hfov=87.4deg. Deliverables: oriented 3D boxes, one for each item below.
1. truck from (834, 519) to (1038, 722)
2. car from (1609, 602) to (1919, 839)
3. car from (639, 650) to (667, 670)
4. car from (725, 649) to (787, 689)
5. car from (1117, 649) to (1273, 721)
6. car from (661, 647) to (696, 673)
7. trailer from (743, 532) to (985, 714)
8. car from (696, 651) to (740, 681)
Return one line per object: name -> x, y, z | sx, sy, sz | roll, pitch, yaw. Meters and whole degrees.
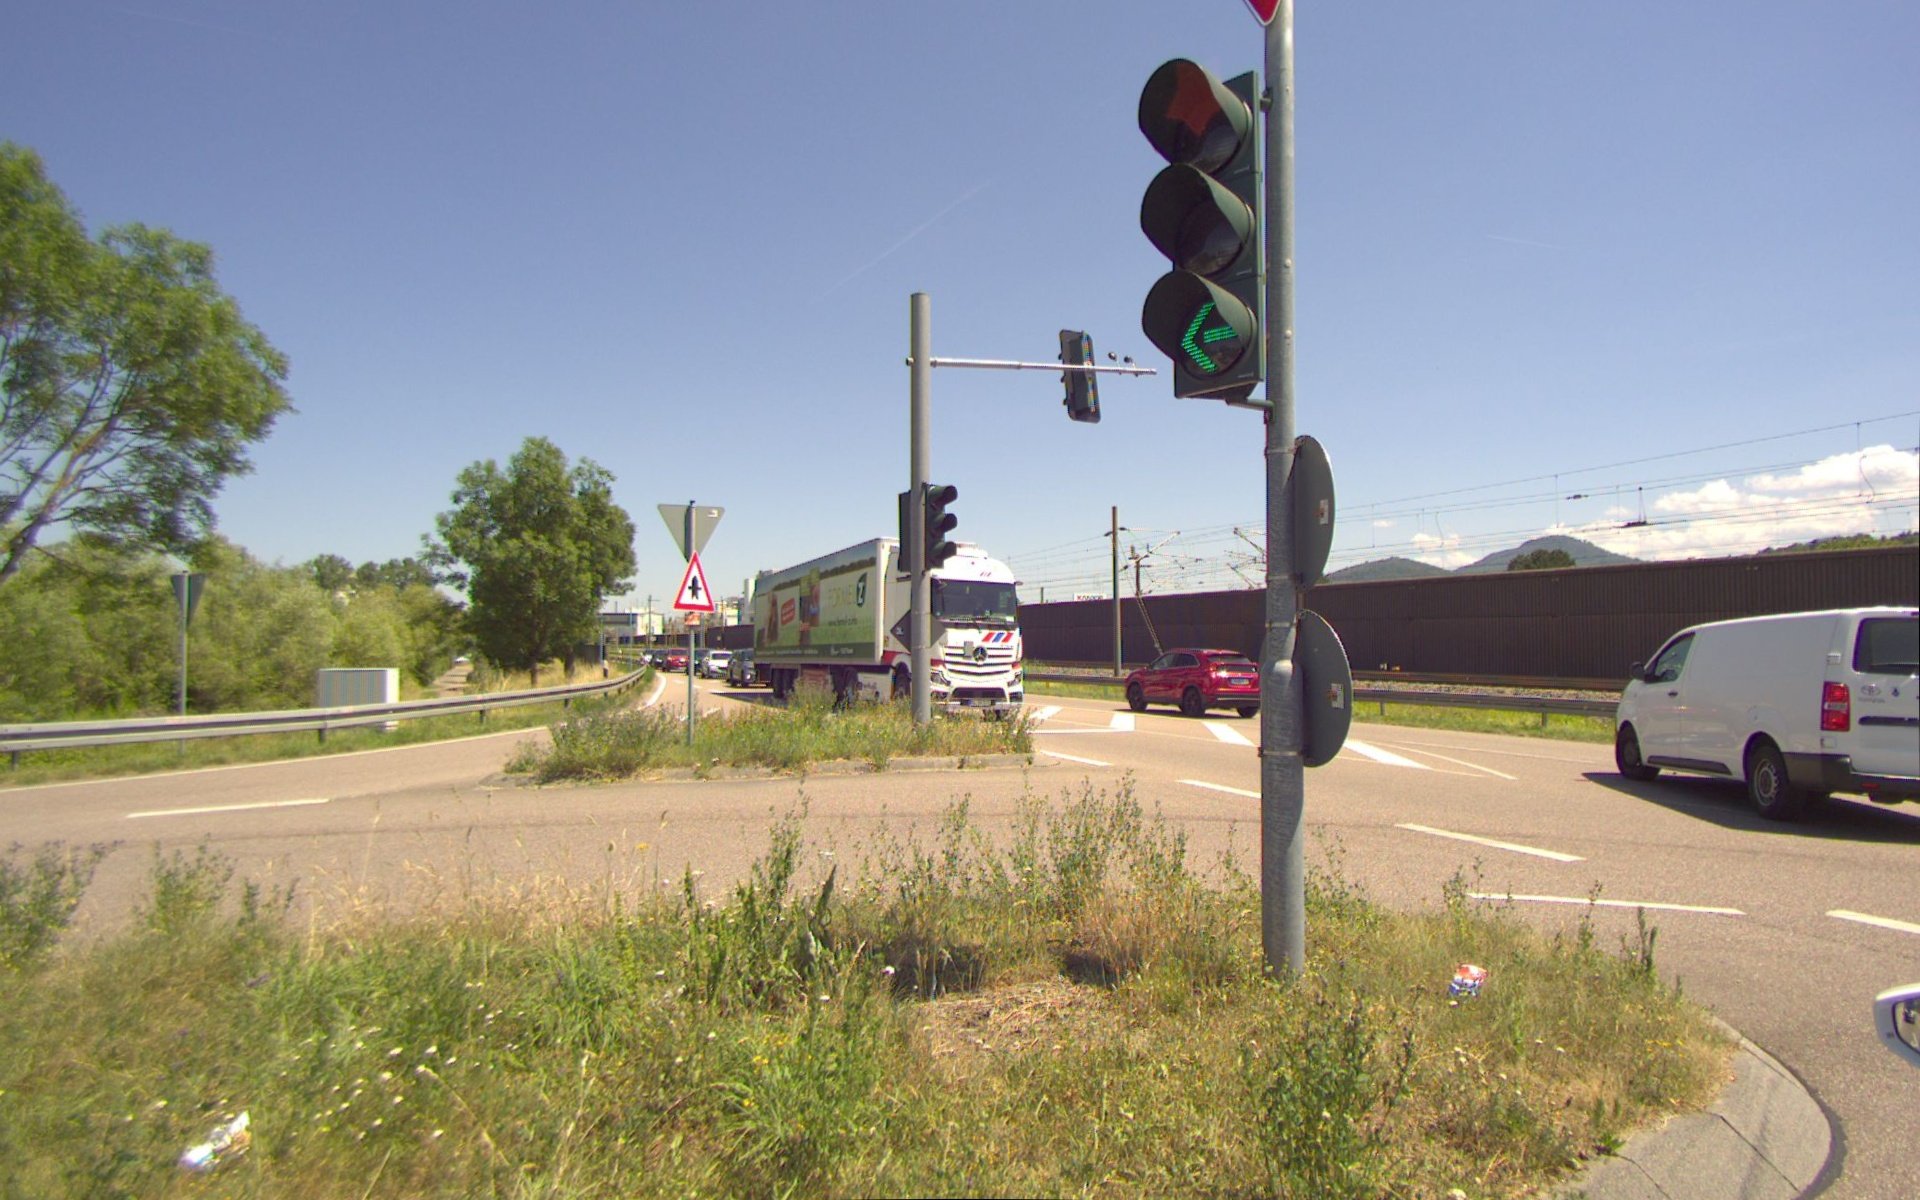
truck -> -0.752, 0.589, 23.445 | 2.661, 4.097, 5.792 | 2, -3, -24
car -> 8.678, 1.133, 10.443 | 1.913, 1.906, 4.884 | 1, -3, 16
car -> -24.918, 4.843, 81.352 | 1.667, 1.478, 4.591 | 3, -3, -23
car -> -8.588, 2.857, 41.984 | 1.693, 1.582, 4.131 | 2, -3, -24
car -> 5.891, 2.102, 25.647 | 1.884, 1.671, 4.122 | 2, -3, -21
car -> -18.948, 3.986, 67.583 | 1.736, 1.653, 4.257 | 2, -3, -22
trailer -> -3.513, 0.895, 29.602 | 2.661, 4.097, 14.043 | 2, -4, -24
car -> -13.075, 3.532, 54.155 | 1.634, 1.498, 4.607 | 2, -3, -22
